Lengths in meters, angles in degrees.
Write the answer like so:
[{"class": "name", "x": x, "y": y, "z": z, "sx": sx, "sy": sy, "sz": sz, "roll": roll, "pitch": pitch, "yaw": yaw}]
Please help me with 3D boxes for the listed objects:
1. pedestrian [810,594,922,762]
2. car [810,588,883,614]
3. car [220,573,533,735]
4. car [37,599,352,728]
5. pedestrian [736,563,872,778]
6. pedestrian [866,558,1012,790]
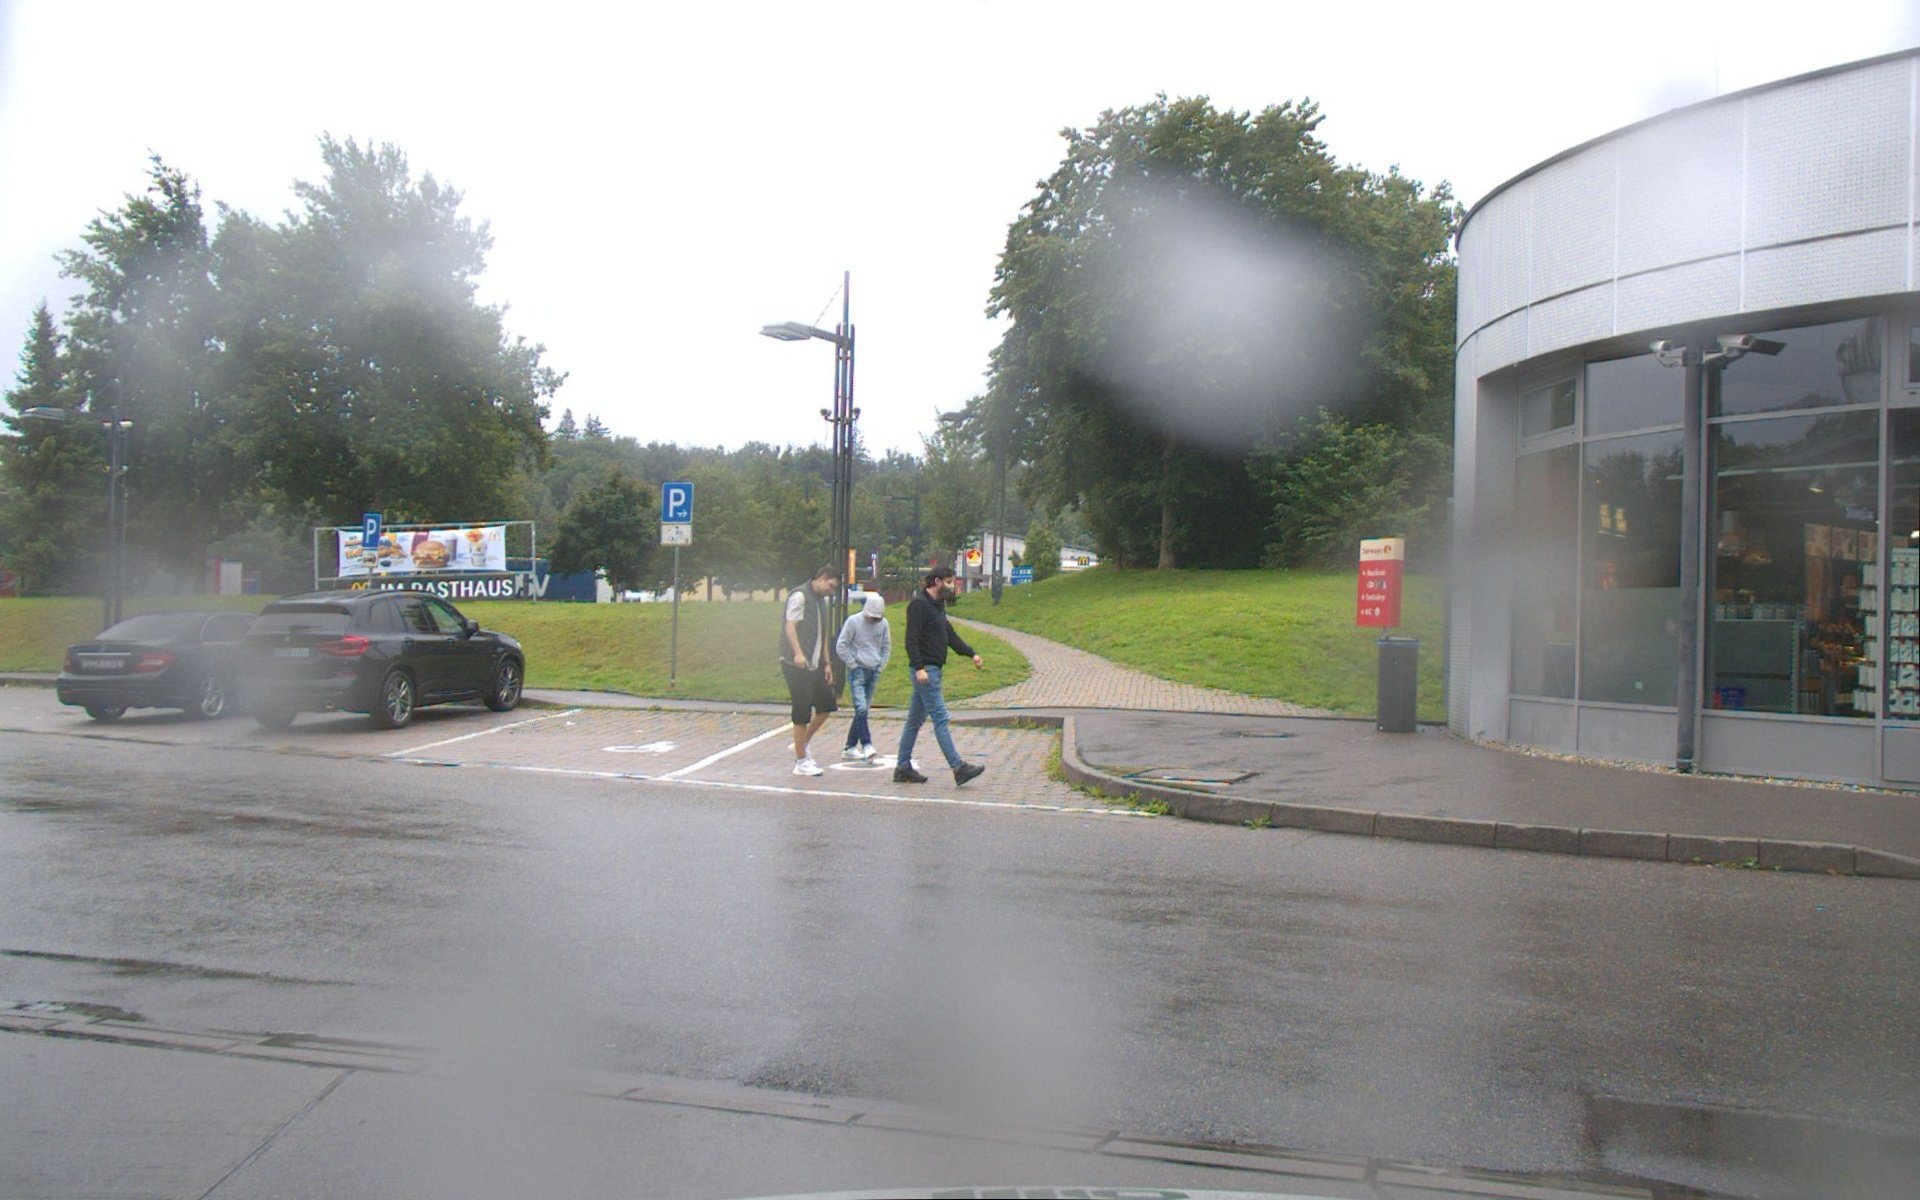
[{"class": "pedestrian", "x": -0.910, "y": 0.734, "z": 16.108, "sx": 0.872, "sy": 1.577, "sz": 0.659, "roll": 0, "pitch": 0, "yaw": 29}, {"class": "car", "x": -9.155, "y": 0.079, "z": 133.621, "sx": 5.310, "sy": 2.049, "sz": 2.456, "roll": 1, "pitch": 0, "yaw": 19}, {"class": "car", "x": -7.329, "y": 0.616, "z": 21.312, "sx": 1.844, "sy": 1.860, "sz": 4.417, "roll": 0, "pitch": 0, "yaw": 11}, {"class": "car", "x": -10.355, "y": 0.789, "z": 22.752, "sx": 1.844, "sy": 1.592, "sz": 4.189, "roll": 0, "pitch": 0, "yaw": 11}, {"class": "pedestrian", "x": -1.411, "y": 0.613, "z": 15.004, "sx": 0.954, "sy": 1.880, "sz": 0.772, "roll": 0, "pitch": 0, "yaw": 28}, {"class": "pedestrian", "x": -0.173, "y": 0.604, "z": 14.115, "sx": 0.979, "sy": 1.897, "sz": 0.798, "roll": 0, "pitch": 0, "yaw": 28}]
